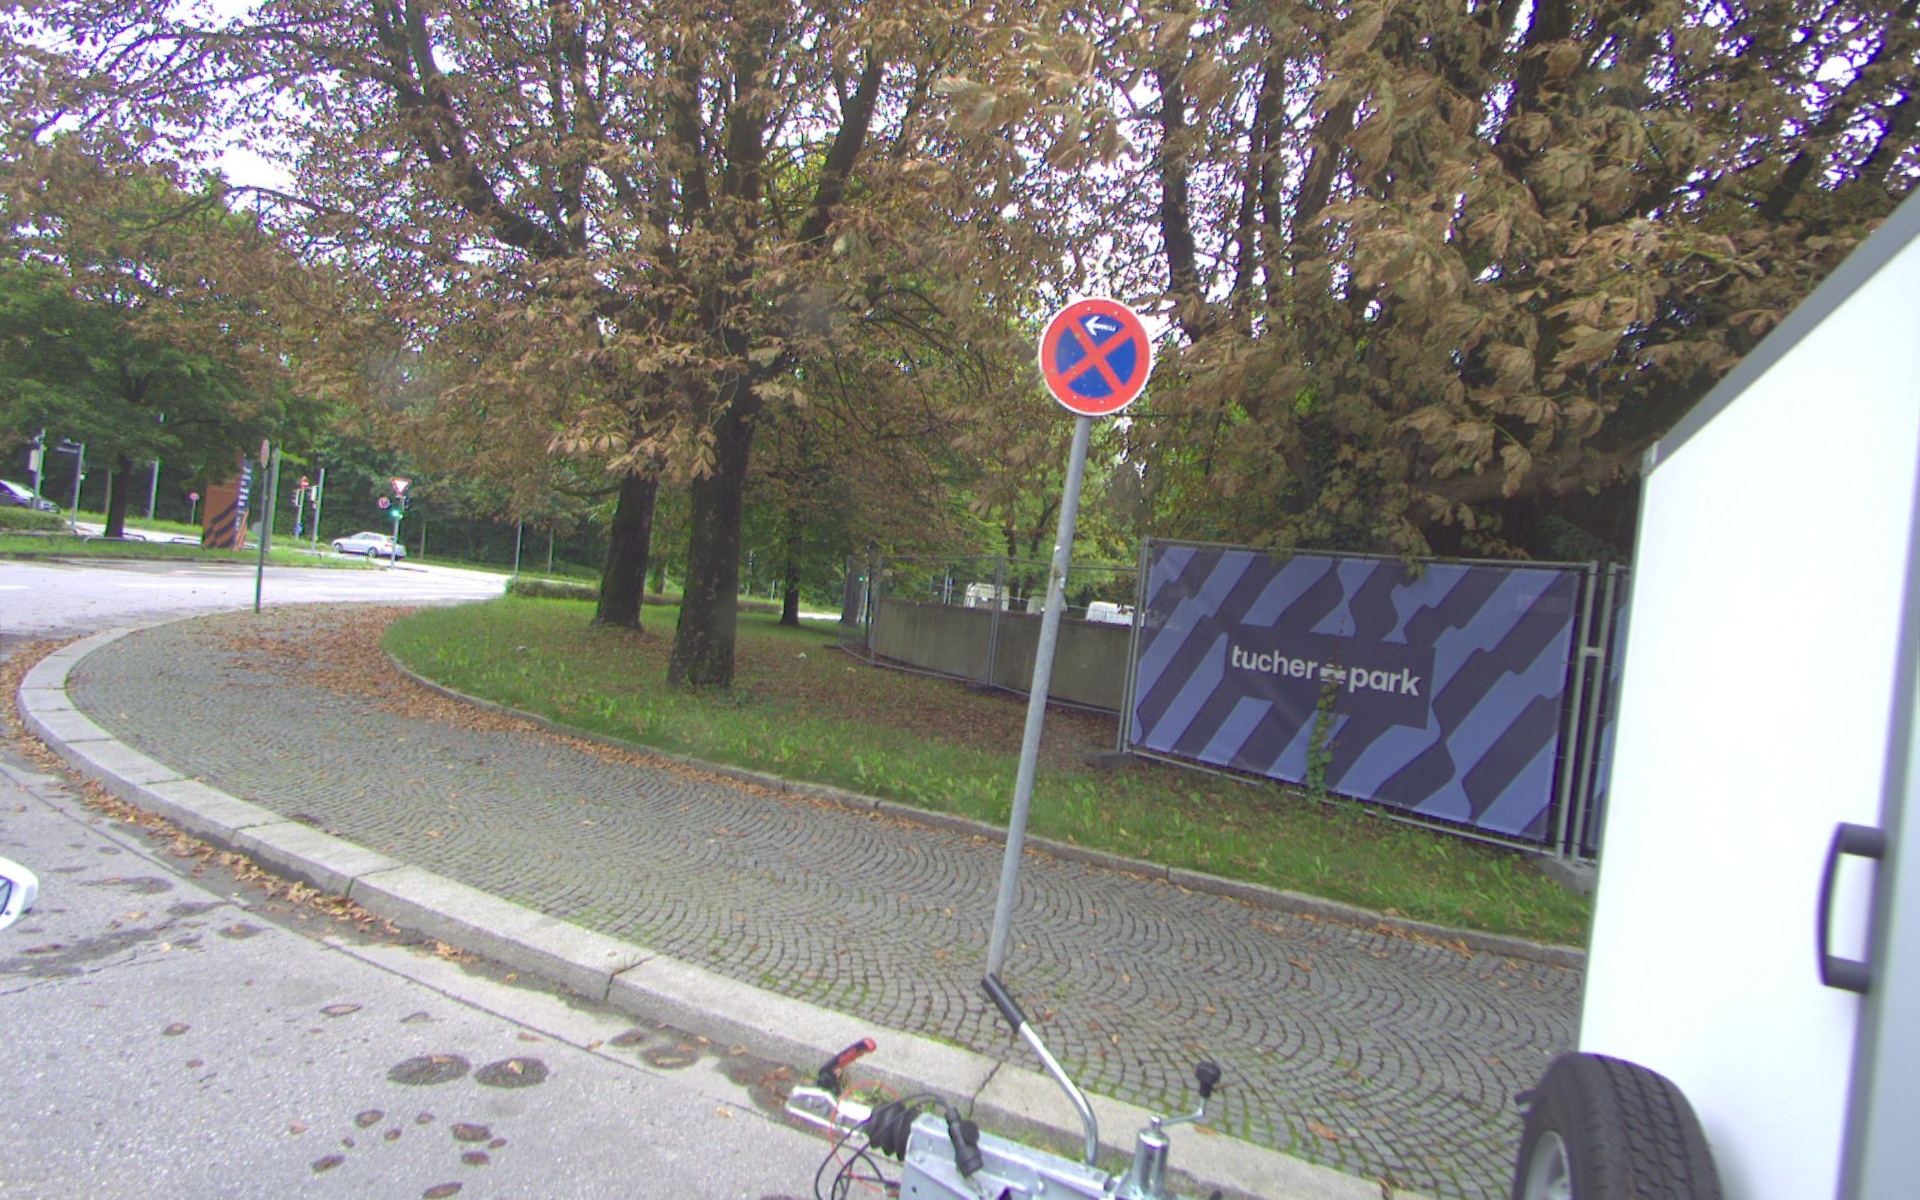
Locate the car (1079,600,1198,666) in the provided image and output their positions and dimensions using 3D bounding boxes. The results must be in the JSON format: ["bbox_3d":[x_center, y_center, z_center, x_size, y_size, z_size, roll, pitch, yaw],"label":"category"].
[{"bbox_3d":[9.020,1.675,51.096,5.360,2.612,2.075,7,0,-4],"label":"car"}]

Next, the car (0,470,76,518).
[{"bbox_3d":[-49.541,-5.667,52.945,3.932,2.038,1.997,7,0,-9],"label":"car"}]

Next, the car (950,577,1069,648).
[{"bbox_3d":[2.411,0.631,50.368,5.496,2.767,2.075,7,0,-4],"label":"car"}]

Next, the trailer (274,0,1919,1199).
[{"bbox_3d":[1.449,0.510,1.448,4.748,2.038,1.813,6,0,26],"label":"trailer"}]

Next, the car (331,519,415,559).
[{"bbox_3d":[-34.620,-3.612,59.340,4.047,1.771,2.001,7,0,19],"label":"car"}]
